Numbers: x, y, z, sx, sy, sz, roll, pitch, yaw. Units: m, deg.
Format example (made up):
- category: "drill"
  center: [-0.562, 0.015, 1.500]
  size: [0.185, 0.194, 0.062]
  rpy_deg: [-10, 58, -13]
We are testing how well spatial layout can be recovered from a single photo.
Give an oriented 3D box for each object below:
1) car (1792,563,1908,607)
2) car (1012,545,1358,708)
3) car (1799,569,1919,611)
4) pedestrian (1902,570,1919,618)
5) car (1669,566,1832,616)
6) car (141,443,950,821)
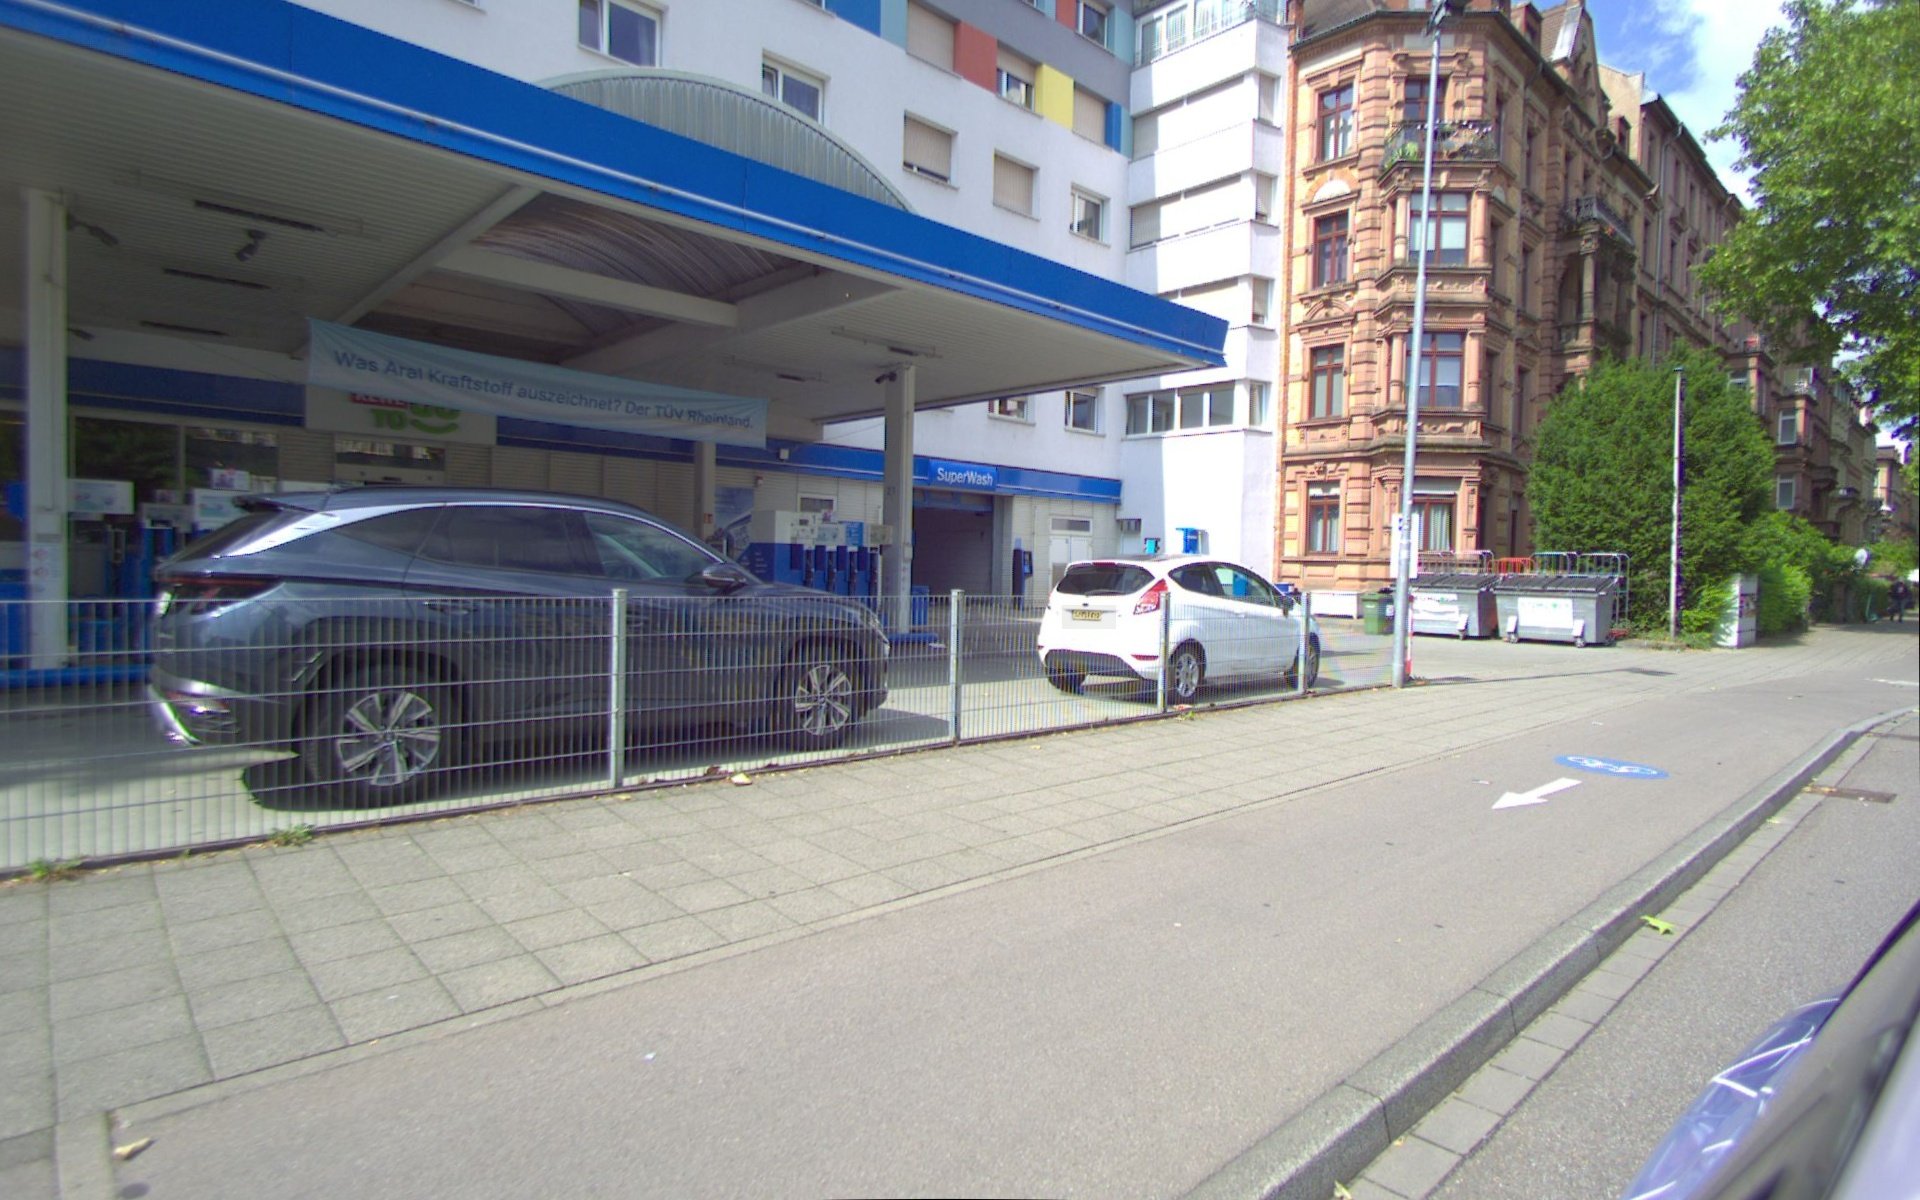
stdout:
- category: "car"
  center: [47.560, -0.851, 54.147]
  size: [1.950, 1.962, 4.404]
  rpy_deg: [0, 5, -43]
- category: "car"
  center: [2.586, 0.192, 11.111]
  size: [3.934, 1.473, 1.808]
  rpy_deg: [-1, 2, -43]
- category: "car"
  center: [44.207, -0.524, 49.559]
  size: [4.716, 1.804, 1.977]
  rpy_deg: [4, 4, 40]
- category: "pedestrian"
  center: [36.616, -0.247, 38.851]
  size: [0.619, 1.808, 0.565]
  rpy_deg: [0, 2, -43]
- category: "car"
  center: [27.980, -0.353, 35.914]
  size: [1.909, 1.487, 4.242]
  rpy_deg: [-1, 4, -42]
- category: "car"
  center: [-2.347, 0.090, 6.523]
  size: [4.504, 1.622, 1.809]
  rpy_deg: [-1, 2, -42]
